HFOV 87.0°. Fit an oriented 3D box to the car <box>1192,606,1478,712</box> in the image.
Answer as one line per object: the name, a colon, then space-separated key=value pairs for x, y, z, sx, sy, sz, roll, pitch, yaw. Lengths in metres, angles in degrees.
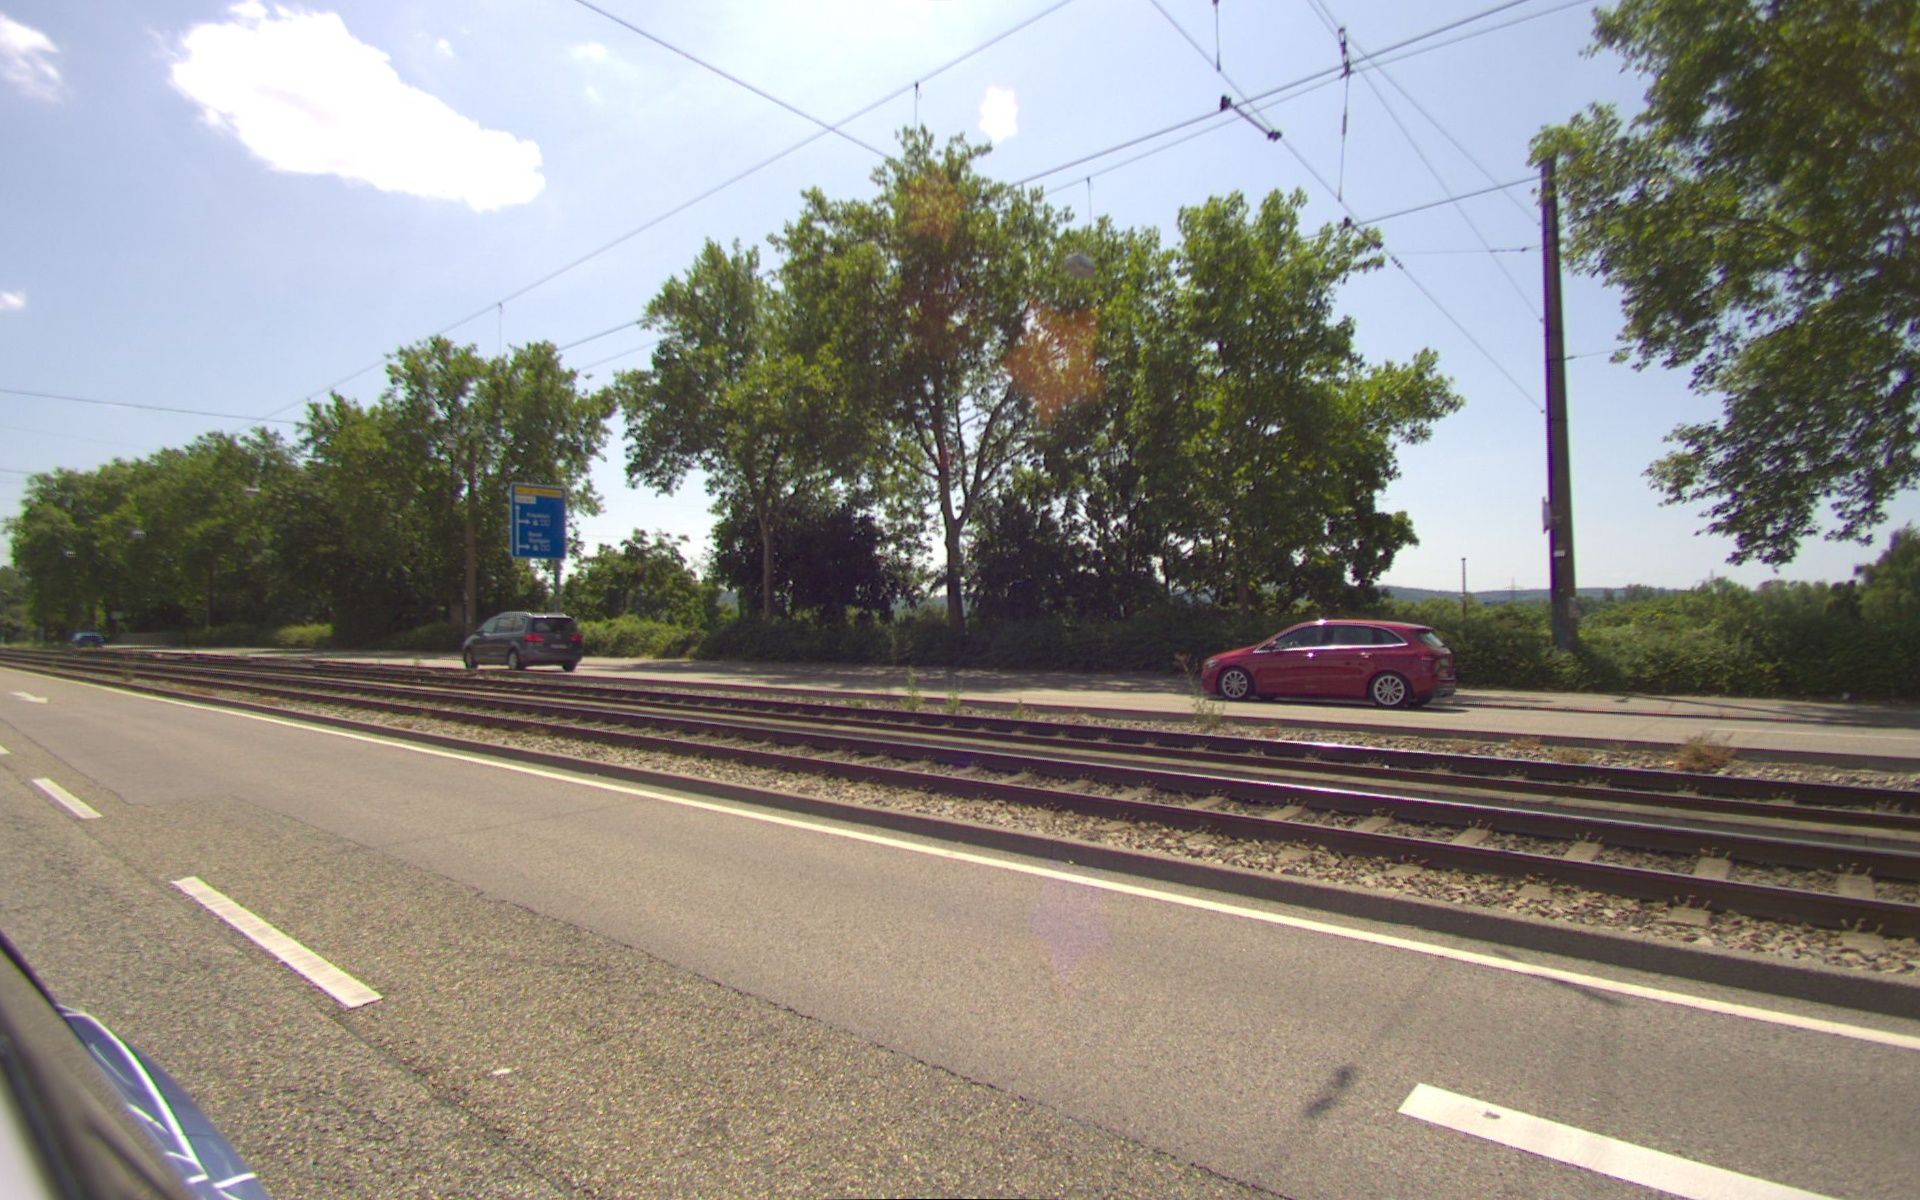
car: x=6.702 y=1.040 z=18.350 sx=4.464 sy=1.683 sz=1.973 roll=-2 pitch=-4 yaw=40

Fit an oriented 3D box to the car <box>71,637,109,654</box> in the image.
car: x=-77.842 y=4.077 z=90.494 sx=4.731 sy=1.515 sz=1.780 roll=-2 pitch=-4 yaw=40

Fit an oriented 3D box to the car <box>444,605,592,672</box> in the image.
car: x=-13.221 y=1.173 z=30.128 sx=4.965 sy=1.845 sz=1.973 roll=-2 pitch=-4 yaw=40
